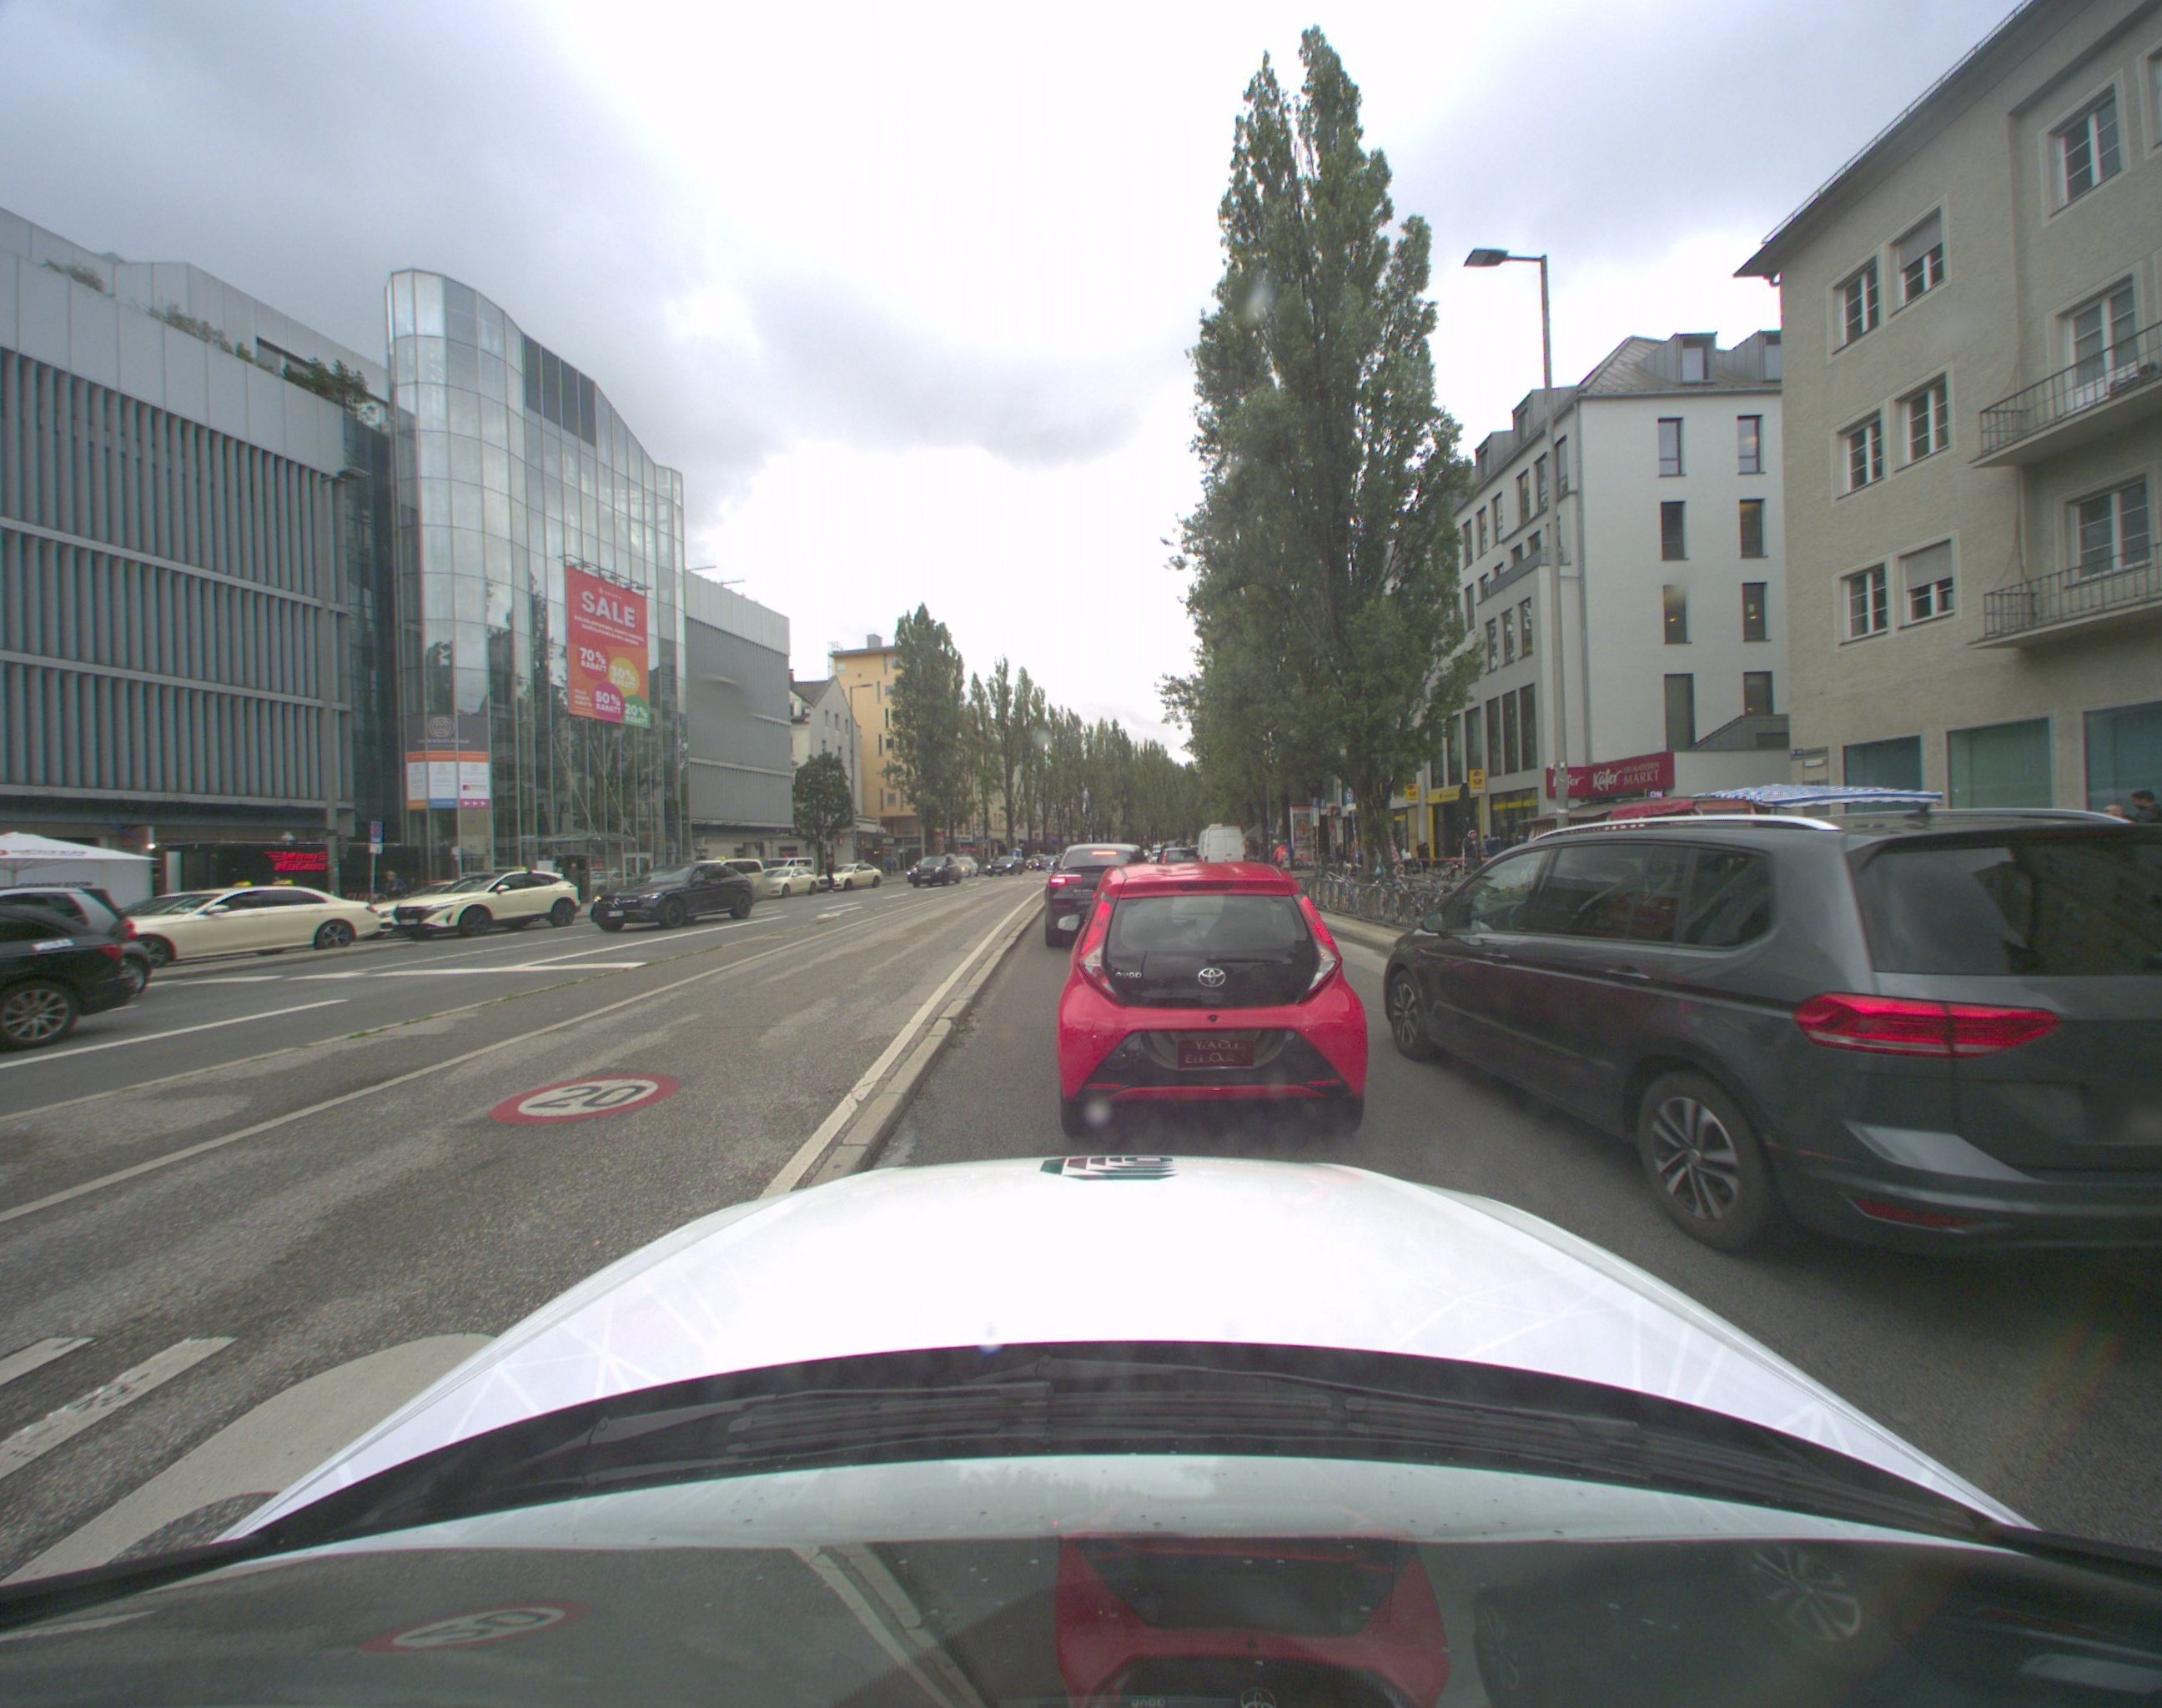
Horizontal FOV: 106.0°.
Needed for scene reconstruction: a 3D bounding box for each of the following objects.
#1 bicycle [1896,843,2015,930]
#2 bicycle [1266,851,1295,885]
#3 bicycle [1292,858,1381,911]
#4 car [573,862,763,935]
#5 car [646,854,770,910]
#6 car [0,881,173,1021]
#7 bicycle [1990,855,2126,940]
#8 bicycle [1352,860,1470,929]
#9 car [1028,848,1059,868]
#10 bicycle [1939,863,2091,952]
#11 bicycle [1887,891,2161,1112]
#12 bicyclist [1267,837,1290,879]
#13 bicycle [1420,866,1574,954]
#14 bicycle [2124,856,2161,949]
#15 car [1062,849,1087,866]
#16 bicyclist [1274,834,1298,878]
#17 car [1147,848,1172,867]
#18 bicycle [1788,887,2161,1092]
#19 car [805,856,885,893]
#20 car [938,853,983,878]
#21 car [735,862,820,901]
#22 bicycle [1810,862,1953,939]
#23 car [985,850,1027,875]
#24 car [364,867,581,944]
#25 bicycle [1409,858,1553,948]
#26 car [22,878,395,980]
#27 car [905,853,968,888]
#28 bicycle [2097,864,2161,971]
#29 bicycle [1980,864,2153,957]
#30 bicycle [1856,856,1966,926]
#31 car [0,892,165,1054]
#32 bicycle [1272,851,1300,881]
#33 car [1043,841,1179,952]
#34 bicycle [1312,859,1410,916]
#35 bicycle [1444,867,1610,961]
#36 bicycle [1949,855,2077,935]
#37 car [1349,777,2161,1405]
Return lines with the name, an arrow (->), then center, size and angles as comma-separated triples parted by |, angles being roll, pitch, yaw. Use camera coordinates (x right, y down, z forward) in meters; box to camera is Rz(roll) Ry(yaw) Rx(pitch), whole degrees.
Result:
bicycle -> 12.114, 0.445, 11.289 | 1.240, 1.140, 0.369 | -2, 0, -1
bicycle -> 8.029, 0.534, 32.879 | 0.611, 1.265, 2.520 | -2, 0, 2
bicycle -> 5.834, 0.691, 18.659 | 1.814, 1.136, 0.590 | -2, 0, 37
car -> -10.419, 1.057, 21.026 | 1.981, 1.534, 4.600 | -2, 0, 9
car -> -14.856, 1.051, 32.875 | 1.984, 2.013, 5.531 | -1, 0, 5
car -> -13.333, 1.182, 9.442 | 1.616, 1.552, 3.389 | -2, 0, 5
bicycle -> 12.100, 0.526, 10.100 | 1.240, 0.981, 0.369 | -2, 0, -1
bicycle -> 5.840, 0.700, 14.462 | 1.814, 1.136, 0.590 | -2, 0, 37
car -> -3.485, 0.363, 76.595 | 1.982, 1.691, 4.932 | -2, 0, 8
bicycle -> 10.814, 0.613, 9.443 | 1.255, 0.963, 0.369 | -2, 0, 3
bicycle -> 5.756, 0.785, 4.522 | 1.782, 1.111, 0.590 | -2, 0, 43
bicyclist -> 7.993, 0.141, 32.958 | 0.611, 1.657, 1.251 | -2, 0, 2
bicycle -> 5.855, 0.759, 11.534 | 1.815, 1.136, 0.590 | -2, 0, 43
bicycle -> 12.200, 0.510, 8.920 | 1.243, 0.981, 0.368 | -2, 0, -8
car -> -0.675, 0.326, 88.552 | 1.982, 1.691, 4.932 | -2, 0, 8
bicyclist -> 9.112, 0.079, 36.228 | 0.759, 1.869, 1.133 | -2, 0, 1
car -> 6.304, 0.266, 65.515 | 1.694, 1.426, 3.497 | -2, 0, 1
bicycle -> 5.713, 0.784, 5.188 | 1.782, 1.111, 0.494 | -2, 0, 43
car -> -12.882, 1.078, 44.791 | 1.978, 1.816, 4.553 | -2, 0, 16
car -> -9.005, 0.841, 61.495 | 1.982, 1.691, 4.932 | -2, 0, 8
car -> -14.299, 1.242, 38.658 | 1.984, 1.655, 4.539 | -1, 0, 5
bicycle -> 10.720, 0.617, 10.934 | 1.424, 0.963, 0.370 | -2, 0, 6
car -> -5.566, 0.622, 60.944 | 1.982, 1.691, 4.932 | -2, 0, 8
car -> -15.712, 1.259, 21.368 | 1.979, 1.679, 4.199 | -2, 0, 13
bicycle -> 5.957, 0.706, 12.201 | 1.815, 1.241, 0.590 | -2, 0, 43
car -> -16.807, 1.360, 16.133 | 1.981, 1.508, 4.648 | -2, 0, 10
car -> -7.634, 0.826, 43.613 | 1.983, 1.691, 4.930 | -1, 0, 6
bicycle -> 10.763, 0.611, 8.156 | 1.229, 0.963, 0.366 | -2, 0, -21
bicycle -> 10.811, 0.619, 8.960 | 1.253, 0.963, 0.370 | -2, 0, 10
bicycle -> 12.211, 0.532, 11.991 | 1.240, 0.963, 0.369 | -2, 0, -1
car -> -10.641, 1.140, 6.272 | 1.838, 1.382, 4.602 | -2, 0, 1
bicycle -> 9.134, 0.505, 36.356 | 0.611, 1.265, 2.520 | -2, 0, 2
car -> 0.459, 0.610, 13.898 | 1.987, 1.618, 4.000 | 0, 0, 0
bicycle -> 5.894, 0.695, 17.191 | 1.814, 1.136, 0.590 | -2, 0, 37
bicycle -> 5.859, 0.754, 10.773 | 1.815, 1.136, 0.590 | -2, 0, 43
bicycle -> 12.202, 0.526, 10.675 | 1.240, 0.981, 0.369 | -2, 0, -1
car -> 3.154, 0.602, 4.517 | 1.766, 1.647, 4.707 | -1, 0, 0
